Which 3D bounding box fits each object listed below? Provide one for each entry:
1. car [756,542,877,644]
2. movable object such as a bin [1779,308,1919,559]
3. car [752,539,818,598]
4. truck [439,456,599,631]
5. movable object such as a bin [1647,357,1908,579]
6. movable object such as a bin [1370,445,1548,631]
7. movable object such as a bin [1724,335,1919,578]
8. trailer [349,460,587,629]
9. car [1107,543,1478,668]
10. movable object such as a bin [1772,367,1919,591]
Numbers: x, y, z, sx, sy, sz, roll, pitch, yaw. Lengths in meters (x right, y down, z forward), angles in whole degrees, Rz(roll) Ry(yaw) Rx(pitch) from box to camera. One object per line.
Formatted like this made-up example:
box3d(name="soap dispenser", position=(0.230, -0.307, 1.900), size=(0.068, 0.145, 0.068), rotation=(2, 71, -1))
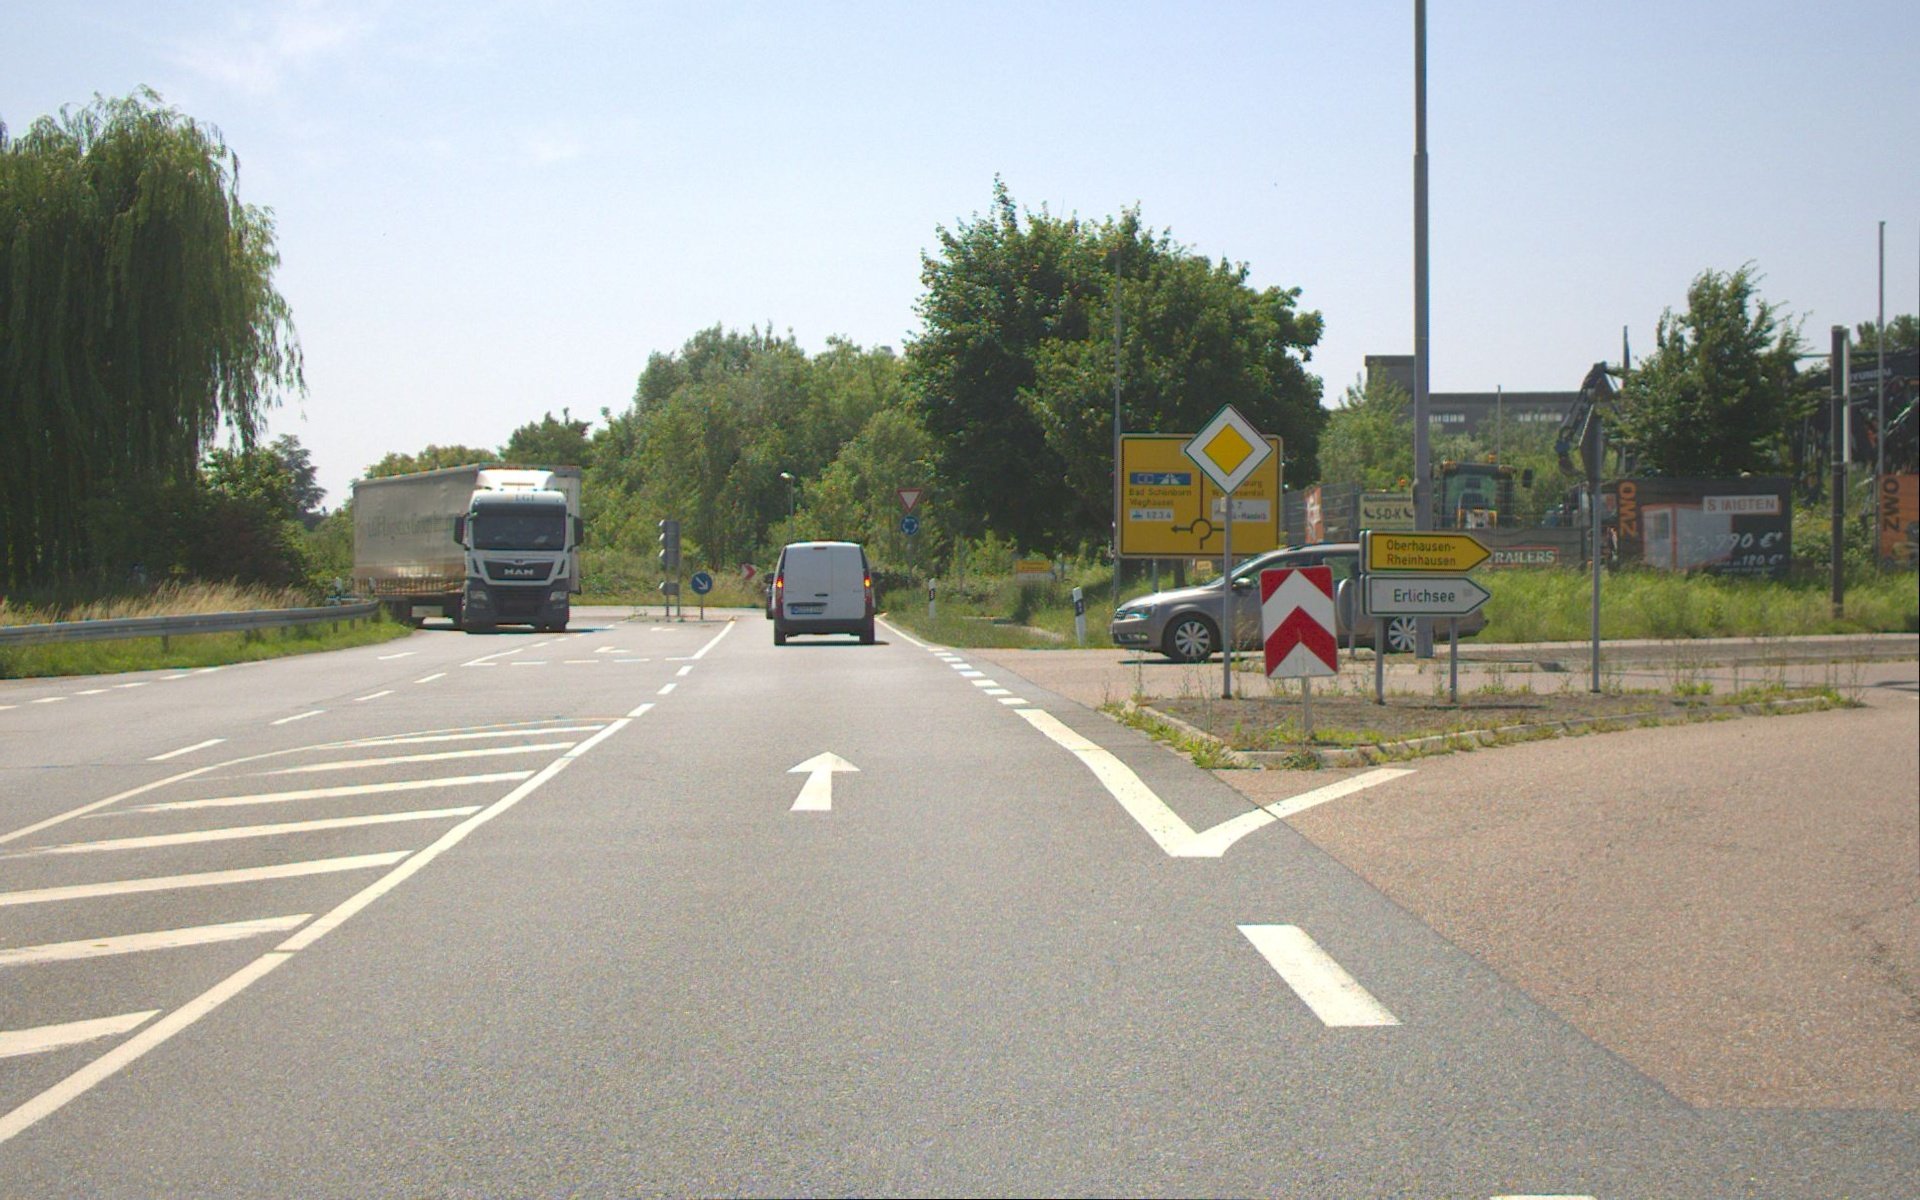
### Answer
box3d(name="car", position=(-2.544, -0.124, 60.251), size=(1.903, 1.726, 3.823), rotation=(0, 0, -6))
box3d(name="movable object such as a bin", position=(20.890, -3.474, 73.549), size=(5.918, 5.088, 3.108), rotation=(1, -1, 1))
box3d(name="car", position=(-4.918, -0.901, 96.926), size=(1.805, 1.550, 4.001), rotation=(0, 2, -2))
box3d(name="truck", position=(-10.856, -1.398, 84.027), size=(2.789, 4.042, 6.756), rotation=(1, 1, -16))
box3d(name="movable object such as a bin", position=(20.495, -3.272, 86.403), size=(5.716, 5.251, 3.221), rotation=(1, -1, 1))
box3d(name="movable object such as a bin", position=(9.285, -1.091, 64.361), size=(2.323, 3.239, 5.102), rotation=(2, -1, -2))
box3d(name="movable object such as a bin", position=(20.962, -3.150, 77.450), size=(6.591, 5.130, 3.806), rotation=(1, -1, 1))
box3d(name="trailer", position=(-13.072, -1.516, 89.941), size=(2.789, 4.042, 13.506), rotation=(1, 1, -23))
box3d(name="car", position=(4.213, 0.053, 44.035), size=(4.511, 1.503, 1.915), rotation=(-1, 1, -1))
box3d(name="movable object such as a bin", position=(19.157, -2.349, 68.787), size=(5.085, 4.260, 2.834), rotation=(1, -1, 1))
